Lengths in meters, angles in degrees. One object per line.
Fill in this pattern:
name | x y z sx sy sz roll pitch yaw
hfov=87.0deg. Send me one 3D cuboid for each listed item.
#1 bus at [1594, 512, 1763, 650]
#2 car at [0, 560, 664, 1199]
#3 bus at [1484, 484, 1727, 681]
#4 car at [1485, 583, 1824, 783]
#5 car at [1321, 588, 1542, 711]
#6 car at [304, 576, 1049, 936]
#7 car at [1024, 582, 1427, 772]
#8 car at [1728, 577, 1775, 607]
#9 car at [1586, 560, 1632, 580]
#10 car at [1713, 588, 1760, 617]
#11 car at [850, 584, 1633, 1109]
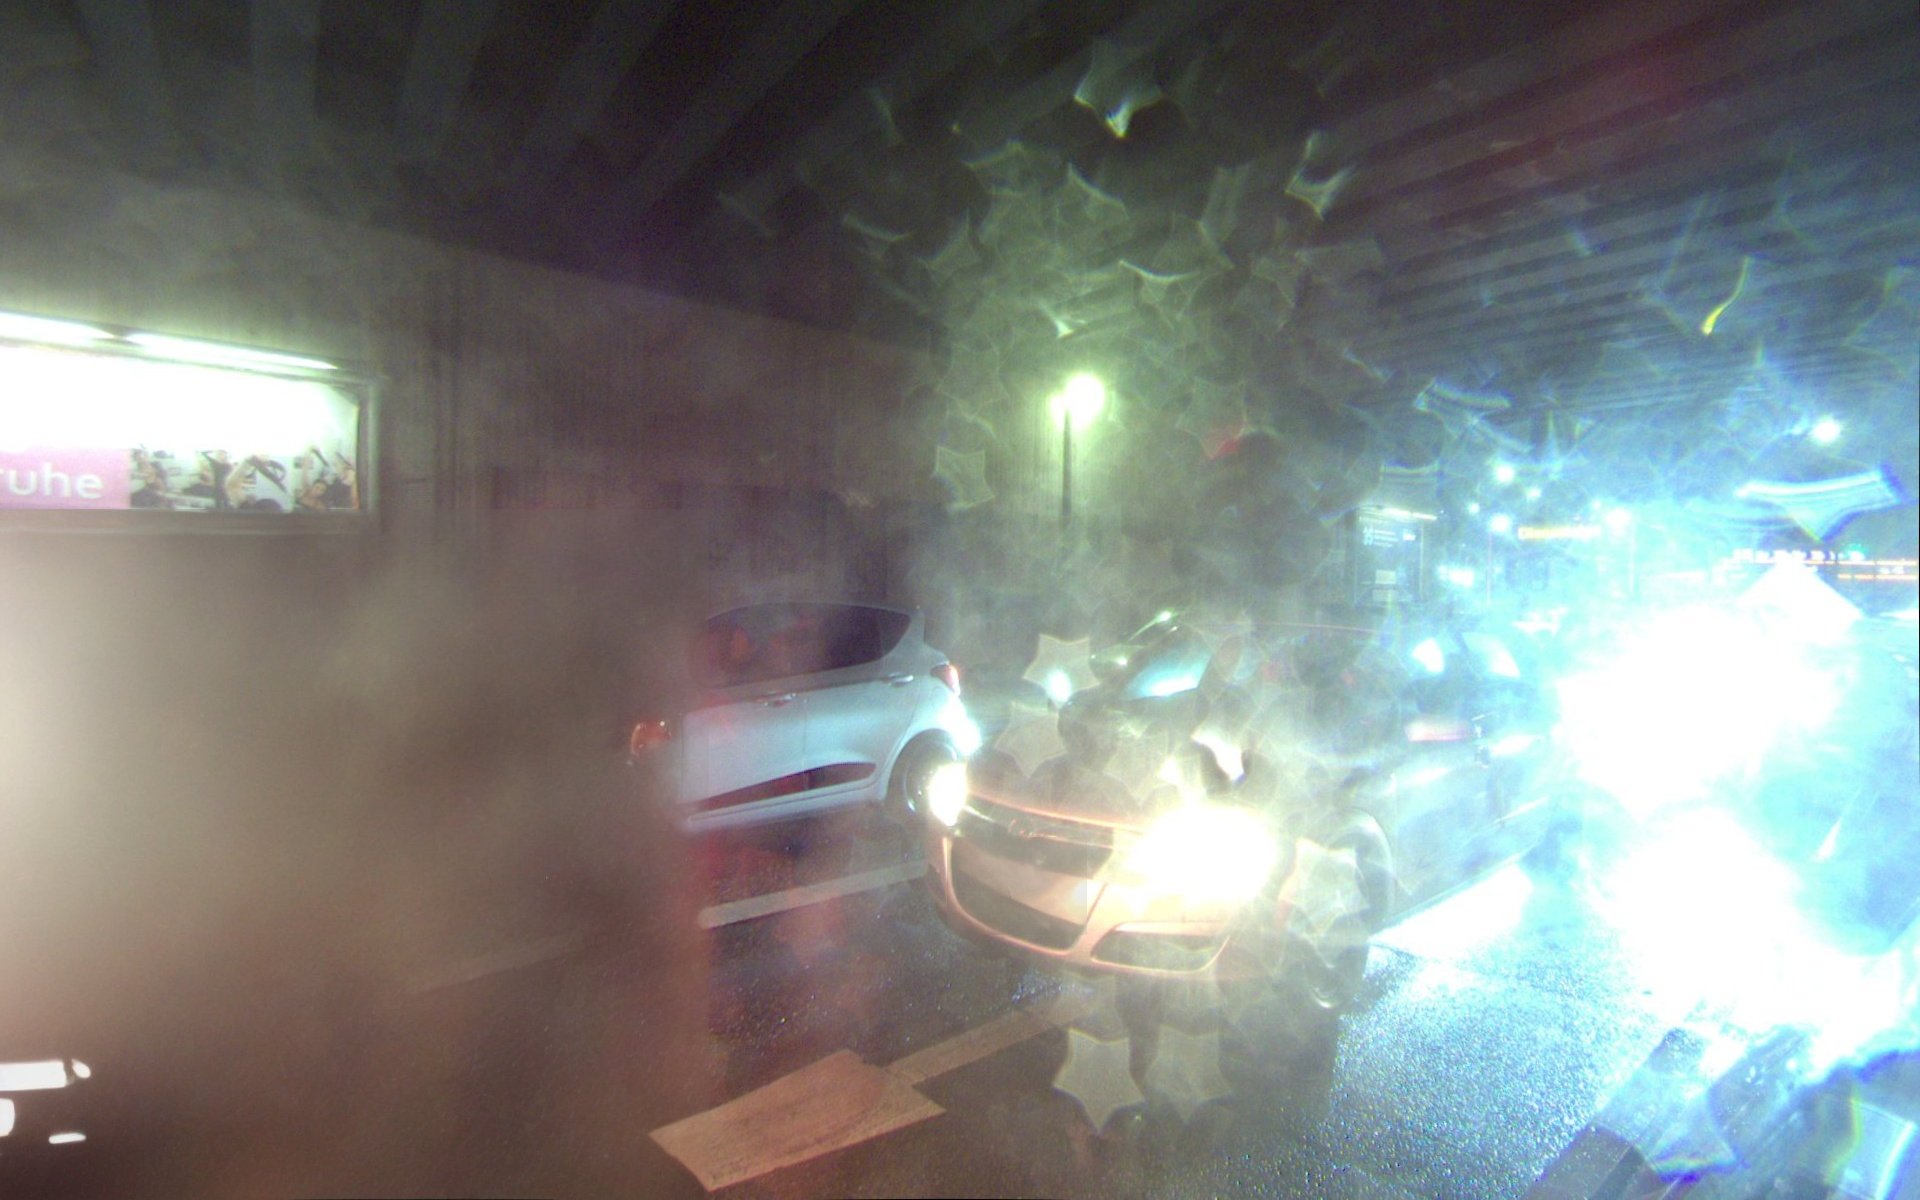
bus | 20.501 -0.539 28.587 2.733 3.278 9.551 1 1 43
car | -2.695 0.687 0.985 4.308 1.464 1.723 -1 3 -42
bus | 14.049 -0.389 21.531 2.733 3.318 9.551 1 1 43
car | 6.748 0.632 9.660 4.091 1.506 1.722 -1 -2 -42
car | 7.143 0.614 15.140 1.721 1.505 4.096 3 3 44
car | -1.490 0.617 6.243 4.091 1.464 1.723 -1 3 -42
car | 2.918 0.591 10.416 4.705 1.505 1.723 -1 2 -42
car | 49.737 -0.542 63.644 1.711 1.725 3.932 2 3 30
car | 46.331 -2.130 72.335 1.685 1.407 3.979 0 1 17
car | 43.152 0.114 56.233 1.693 1.481 3.913 3 3 43
car | 1.635 0.664 4.872 4.091 1.464 1.723 -1 1 -42
